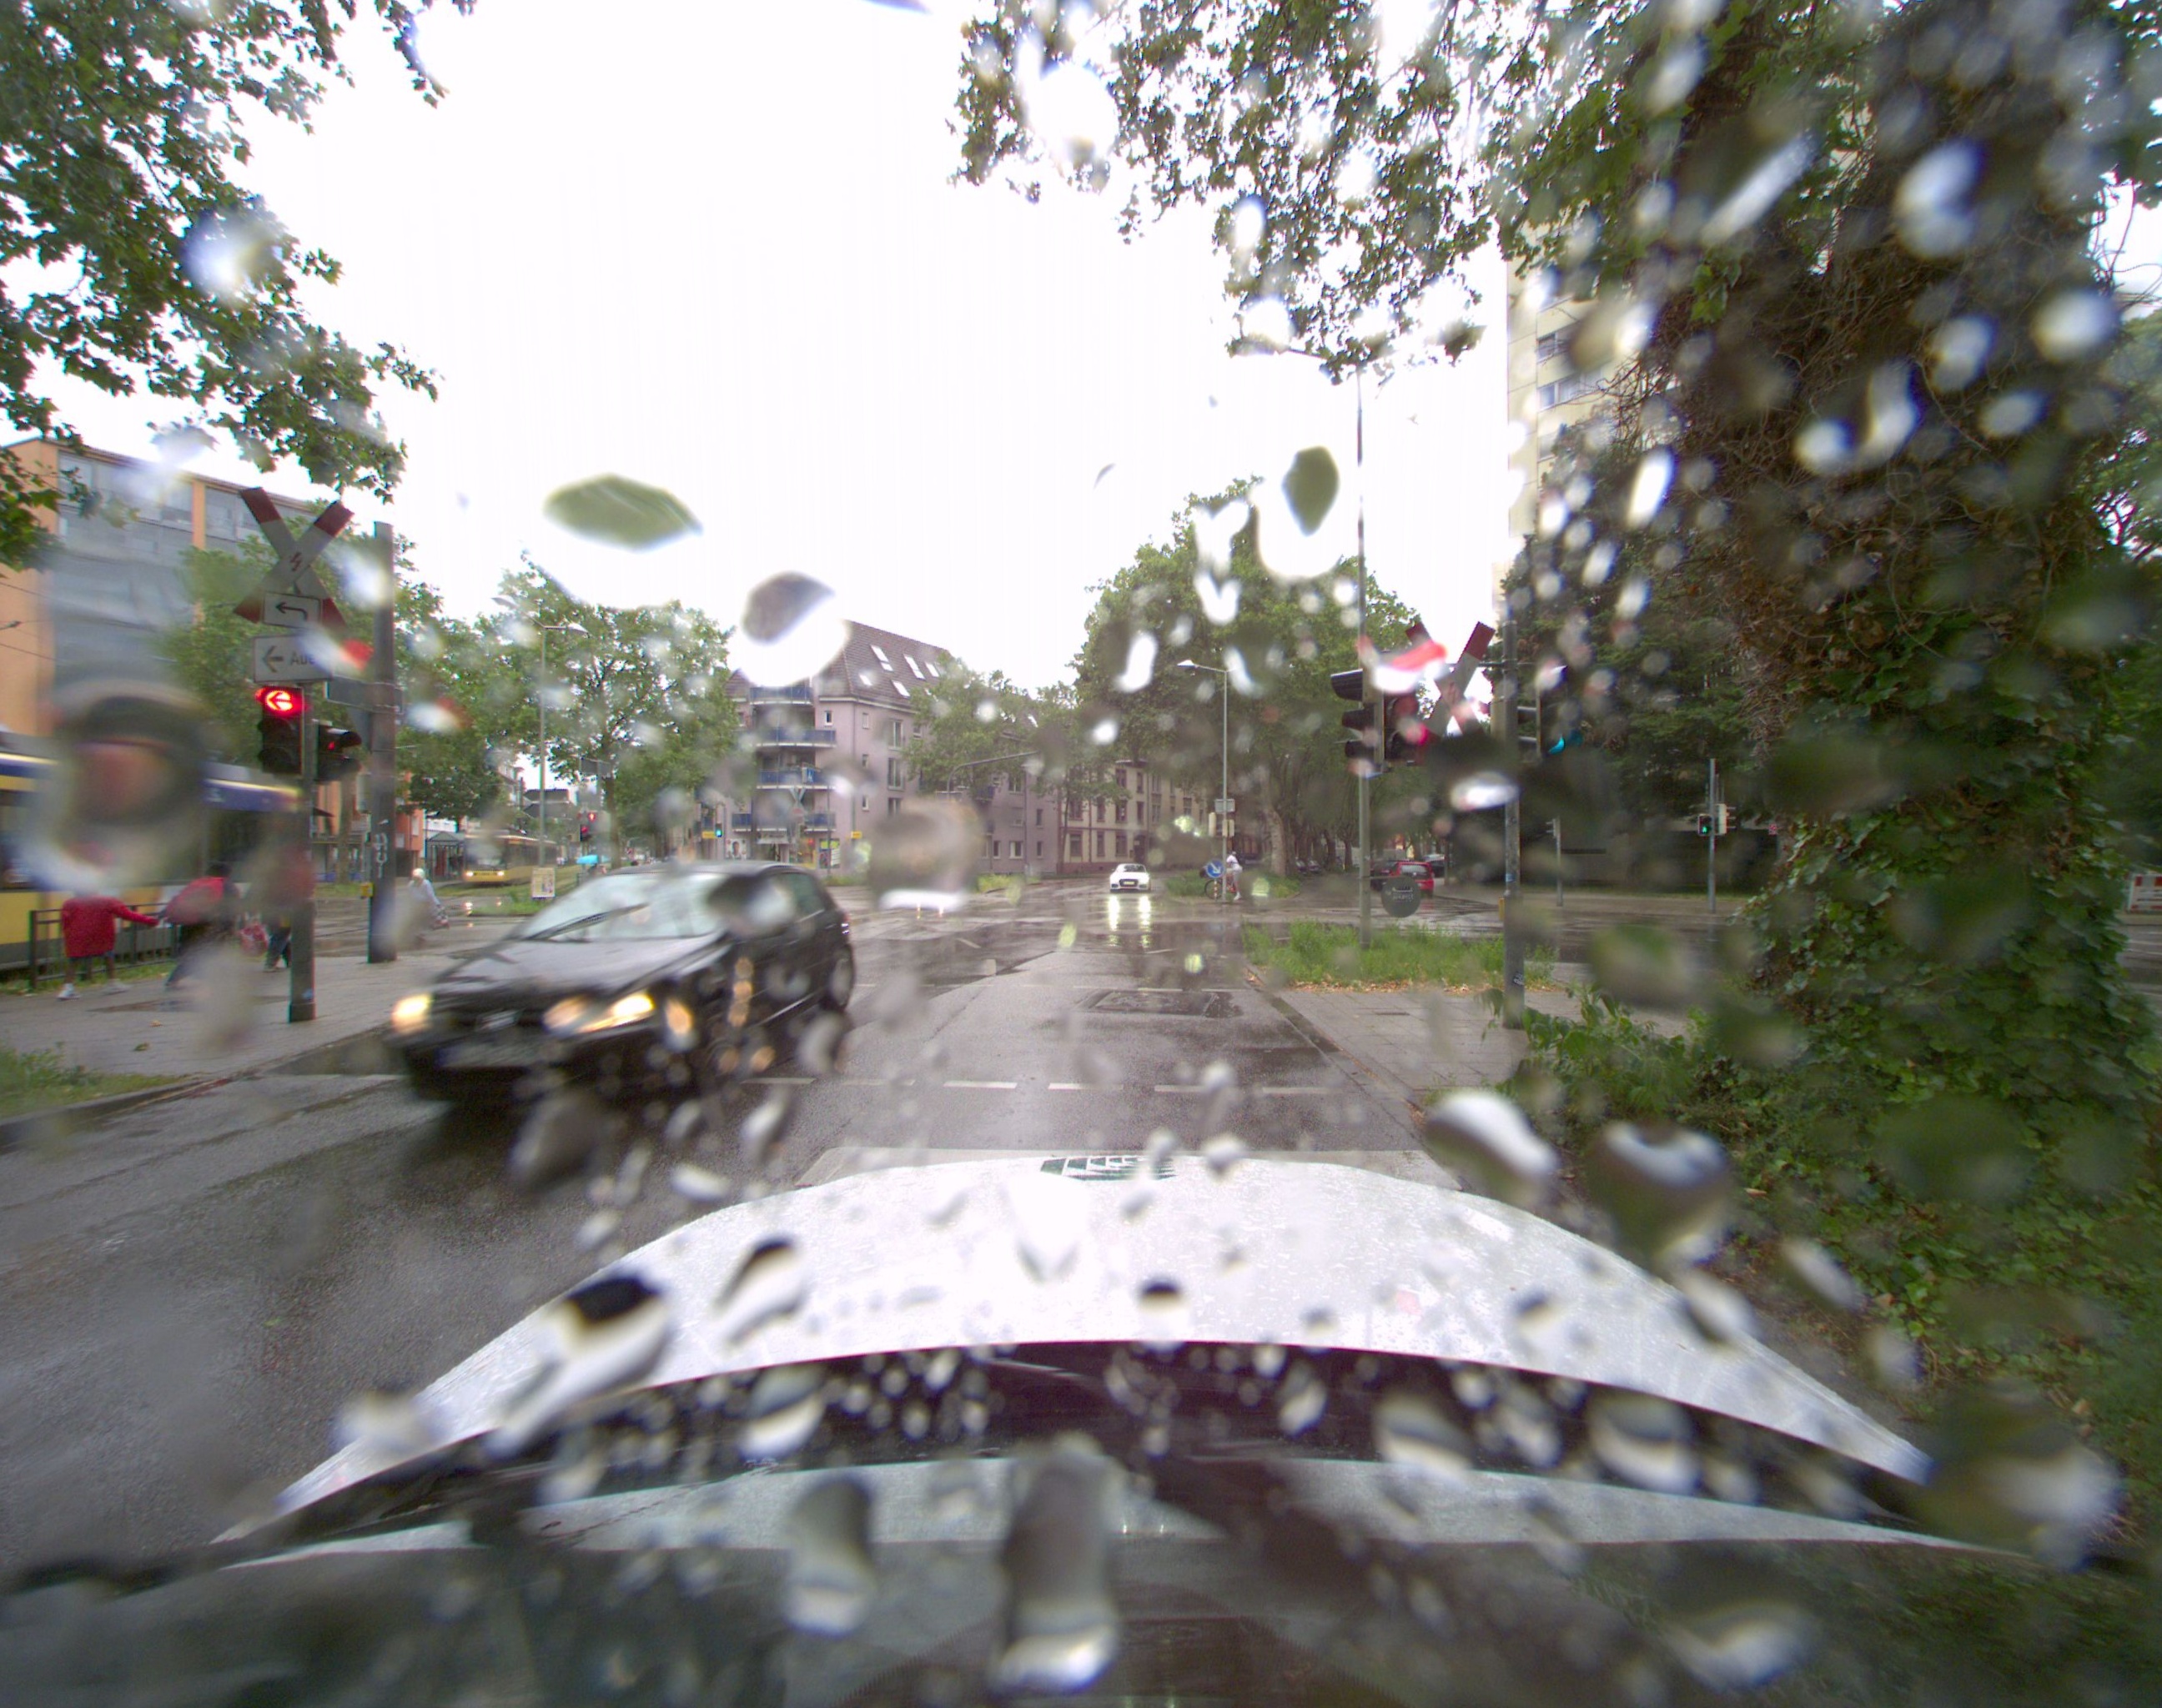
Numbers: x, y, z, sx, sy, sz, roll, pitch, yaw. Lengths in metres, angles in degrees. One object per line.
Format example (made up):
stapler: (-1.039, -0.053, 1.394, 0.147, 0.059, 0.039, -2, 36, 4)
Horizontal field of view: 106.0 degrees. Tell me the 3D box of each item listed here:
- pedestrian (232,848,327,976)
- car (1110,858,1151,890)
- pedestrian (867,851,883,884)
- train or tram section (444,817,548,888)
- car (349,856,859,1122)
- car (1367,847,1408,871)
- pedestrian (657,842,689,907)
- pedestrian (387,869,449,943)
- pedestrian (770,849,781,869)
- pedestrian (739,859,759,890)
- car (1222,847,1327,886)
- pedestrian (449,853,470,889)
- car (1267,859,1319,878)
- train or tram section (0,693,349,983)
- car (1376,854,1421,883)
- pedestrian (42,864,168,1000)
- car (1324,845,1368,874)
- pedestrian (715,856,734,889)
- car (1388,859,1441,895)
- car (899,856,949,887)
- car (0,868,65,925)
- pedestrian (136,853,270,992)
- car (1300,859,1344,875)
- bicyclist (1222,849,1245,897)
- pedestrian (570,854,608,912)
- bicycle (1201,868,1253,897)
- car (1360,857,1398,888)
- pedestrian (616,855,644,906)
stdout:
pedestrian: (-11.386, 0.788, 11.609, 0.844, 1.698, 0.680, -4, 3, -42)
car: (2.388, 0.931, 39.174, 1.876, 1.436, 4.004, 0, 0, 4)
pedestrian: (-13.505, 0.883, 53.373, 0.913, 2.151, 0.880, 0, -1, -25)
train or tram section: (-36.324, 0.017, 51.327, 2.897, 3.768, 17.089, 0, -1, -28)
car: (-3.150, 0.762, 6.379, 1.708, 1.459, 3.748, 0, -1, 1)
car: (38.979, 0.637, 103.570, 2.006, 2.948, 4.726, 0, -1, -29)
pedestrian: (-11.967, 0.589, 23.900, 0.791, 1.855, 0.676, 0, 0, -22)
pedestrian: (-12.544, 0.971, 15.430, 0.657, 1.349, 0.706, 0, 0, -12)
pedestrian: (-20.703, 0.344, 55.156, 0.440, 1.329, 0.565, -1, -1, 37)
pedestrian: (-16.718, 1.021, 41.043, 0.749, 1.533, 0.789, 0, -1, -9)
car: (7.744, 0.514, 32.665, 3.958, 1.486, 2.008, -1, -1, 14)
pedestrian: (-38.523, 1.044, 50.480, 0.889, 2.151, 0.902, 0, -1, -30)
car: (16.930, 1.157, 65.205, 3.958, 1.486, 2.008, -1, -1, 14)
train or tram section: (-14.581, -0.189, 9.578, 2.864, 3.545, 13.648, 0, 0, -14)
car: (15.886, 0.693, 40.872, 1.770, 1.348, 3.945, 0, 1, 16)
pedestrian: (-11.458, 0.882, 9.586, 0.682, 1.520, 0.657, -1, 0, -11)
car: (28.313, 0.583, 87.219, 2.040, 2.948, 4.742, 0, -1, -18)
pedestrian: (-17.428, 0.909, 39.812, 0.674, 1.600, 0.963, 0, -1, -14)
car: (14.817, 0.977, 36.336, 1.778, 1.498, 4.017, 0, 0, 16)
car: (-8.015, 0.847, 41.843, 1.745, 1.512, 3.839, 0, 0, 1)
car: (-32.081, 1.208, 23.621, 3.994, 1.530, 1.615, 0, 1, 12)
pedestrian: (-10.874, 0.817, 10.124, 0.728, 1.624, 0.816, -1, 1, -5)
car: (23.128, 1.249, 78.263, 3.958, 1.547, 2.008, -1, -1, 14)
bicyclist: (5.682, 0.710, 30.368, 0.790, 1.786, 0.699, -1, -1, 9)
pedestrian: (-15.257, 0.887, 25.271, 0.962, 1.766, 0.944, 0, -1, -28)
bicycle: (5.438, 1.064, 30.402, 1.862, 1.081, 0.658, -1, -1, 9)
car: (17.317, 1.059, 47.428, 1.769, 1.727, 4.017, -1, -1, 16)
pedestrian: (-12.784, 0.738, 23.088, 0.653, 1.396, 0.774, 0, 0, -33)
